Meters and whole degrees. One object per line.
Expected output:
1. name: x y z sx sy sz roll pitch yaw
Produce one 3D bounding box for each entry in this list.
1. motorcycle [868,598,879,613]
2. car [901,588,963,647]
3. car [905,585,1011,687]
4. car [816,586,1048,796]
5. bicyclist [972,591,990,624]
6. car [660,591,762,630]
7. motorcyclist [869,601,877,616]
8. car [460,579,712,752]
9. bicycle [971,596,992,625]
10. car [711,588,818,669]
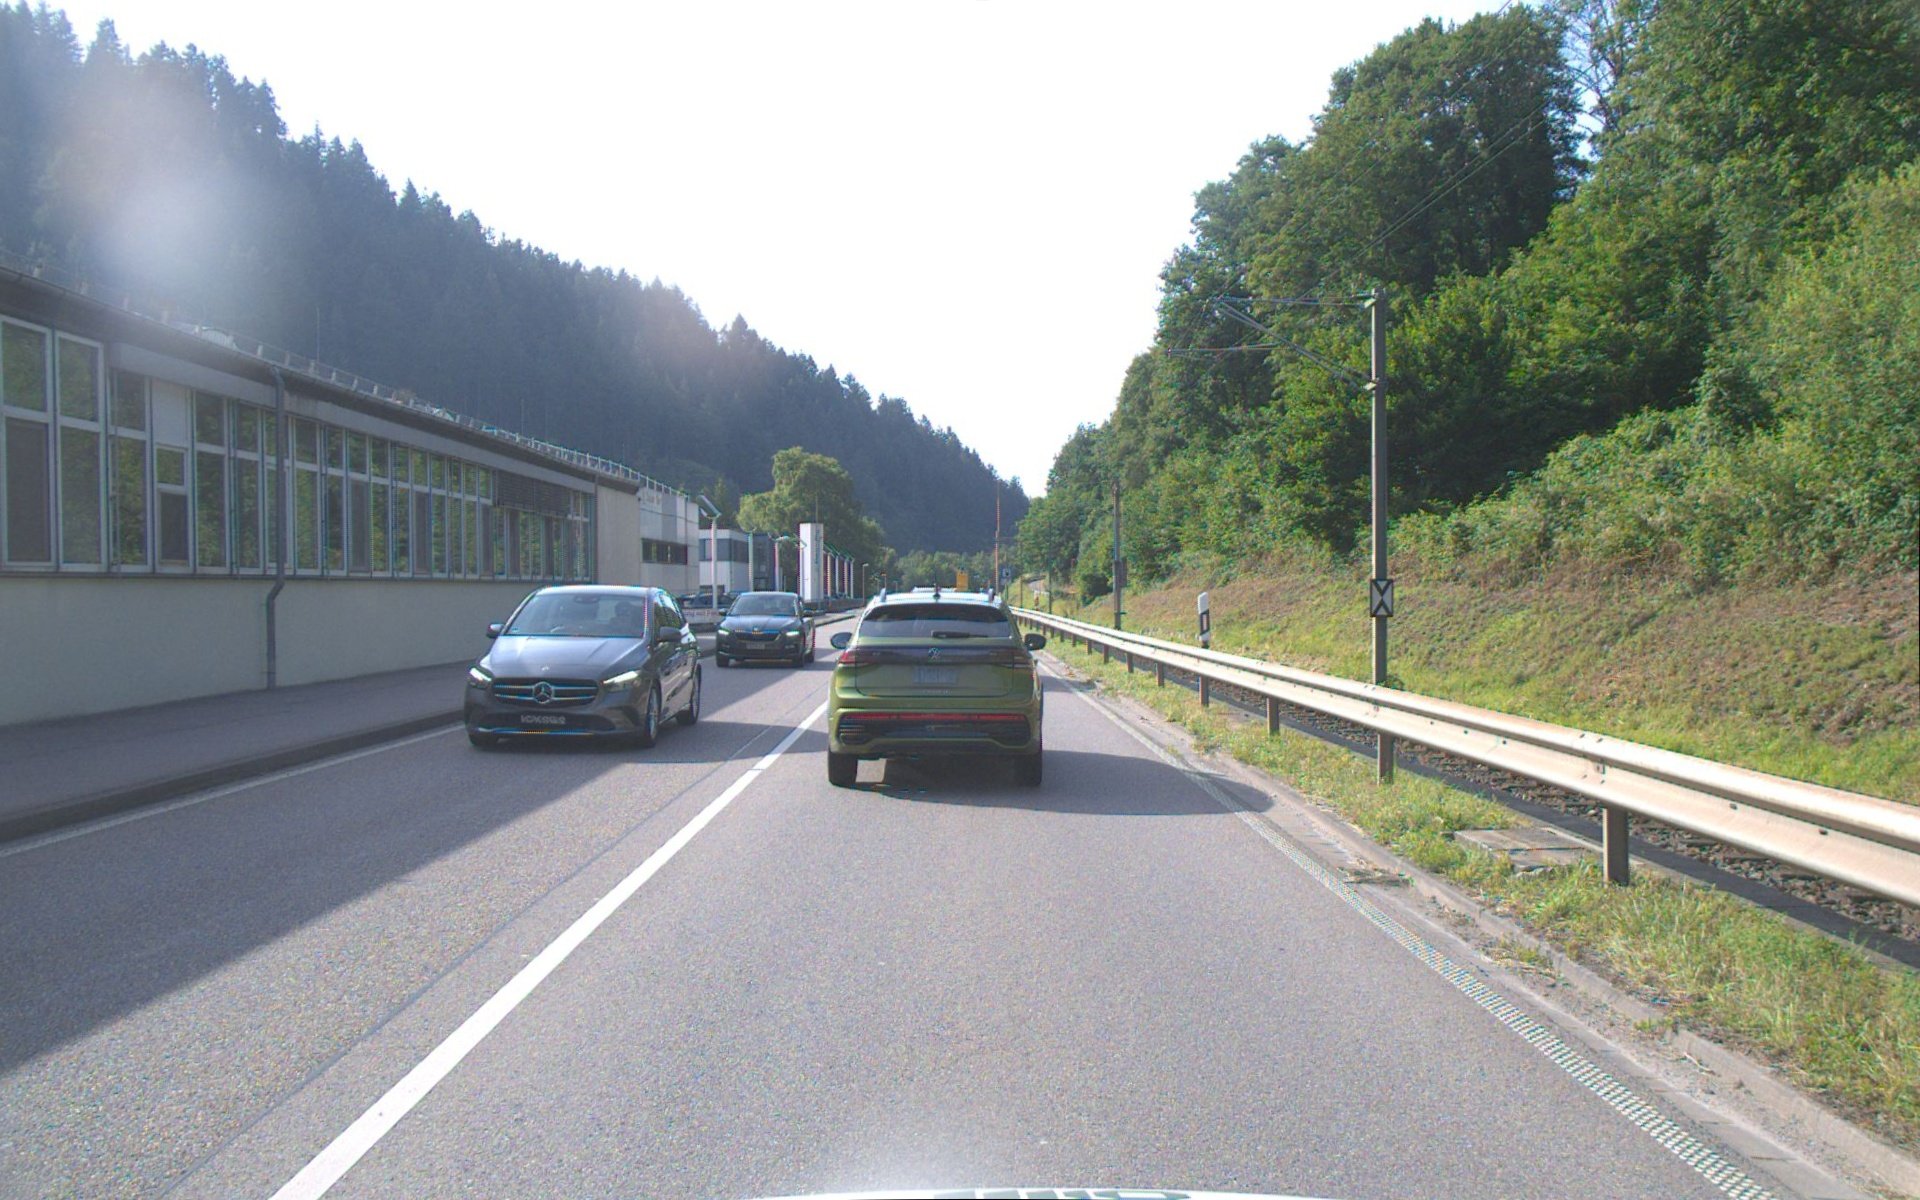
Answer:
1. motorcycle: -6.688 0.423 127.704 0.726 1.087 2.492 0 0 -1
2. car: -0.818 0.474 47.715 1.704 1.630 3.999 0 0 -2
3. car: -0.087 0.575 28.641 1.704 1.630 3.999 0 0 -2
4. car: -0.257 0.661 14.137 1.704 1.534 3.999 0 0 -2
5. bicyclist: 0.954 0.333 74.321 0.766 1.436 0.675 0 0 -3
6. car: -10.675 0.442 71.071 1.854 1.619 4.152 0 0 41
7. motorcyclist: -6.739 0.649 127.725 0.574 1.144 0.636 0 0 -1
8. car: -3.720 0.581 17.158 1.684 1.541 4.198 1 0 -1
9. bicycle: 0.966 0.449 74.112 0.795 1.272 2.121 0 0 -3
10. car: -3.922 0.528 33.730 1.737 1.516 4.051 1 0 -1
